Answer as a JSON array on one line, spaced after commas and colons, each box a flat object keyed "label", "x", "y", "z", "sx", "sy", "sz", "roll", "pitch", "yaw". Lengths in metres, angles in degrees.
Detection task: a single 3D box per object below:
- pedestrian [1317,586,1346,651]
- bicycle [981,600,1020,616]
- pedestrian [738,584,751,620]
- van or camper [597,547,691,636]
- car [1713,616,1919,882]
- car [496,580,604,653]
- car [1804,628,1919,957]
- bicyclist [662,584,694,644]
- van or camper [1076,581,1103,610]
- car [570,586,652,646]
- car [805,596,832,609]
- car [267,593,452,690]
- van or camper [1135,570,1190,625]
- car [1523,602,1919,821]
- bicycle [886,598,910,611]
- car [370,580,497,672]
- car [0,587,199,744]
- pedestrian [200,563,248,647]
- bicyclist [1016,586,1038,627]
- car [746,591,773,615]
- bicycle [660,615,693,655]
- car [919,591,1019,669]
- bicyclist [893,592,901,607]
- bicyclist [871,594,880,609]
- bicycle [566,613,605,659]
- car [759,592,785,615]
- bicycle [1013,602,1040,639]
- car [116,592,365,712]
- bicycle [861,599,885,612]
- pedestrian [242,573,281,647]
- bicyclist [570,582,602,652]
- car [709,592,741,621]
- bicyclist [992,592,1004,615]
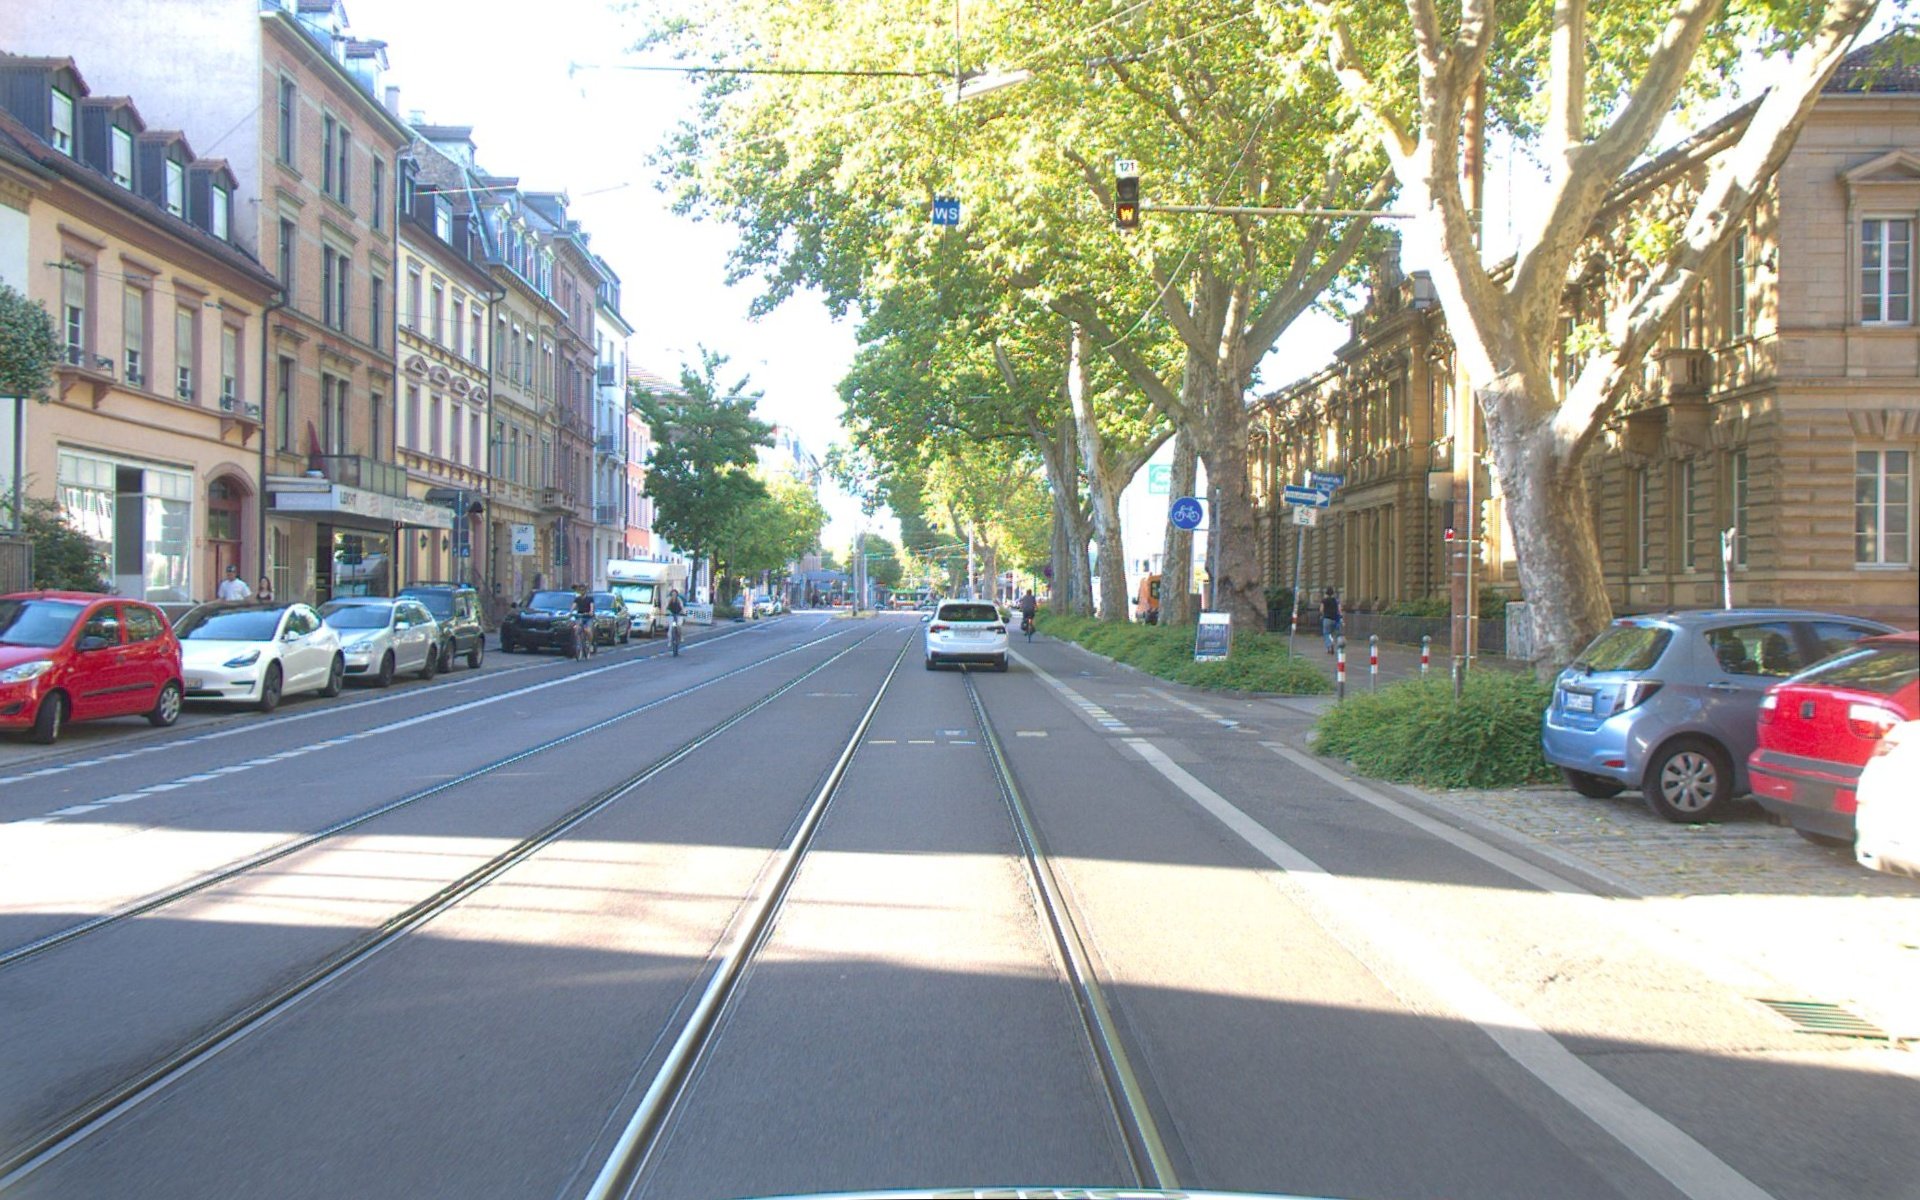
[{"label": "pedestrian", "x": 9.641, "y": 0.471, "z": 42.895, "sx": 0.634, "sy": 1.661, "sz": 0.872, "roll": 1, "pitch": 0, "yaw": 17}, {"label": "bicycle", "x": 2.871, "y": 0.569, "z": 117.278, "sx": 2.711, "sy": 1.017, "sz": 0.593, "roll": 2, "pitch": 0, "yaw": 13}, {"label": "pedestrian", "x": -12.458, "y": 0.128, "z": 95.804, "sx": 0.588, "sy": 2.037, "sz": 0.750, "roll": 1, "pitch": 0, "yaw": 3}, {"label": "van or camper", "x": -12.024, "y": -0.306, "z": 63.453, "sx": 2.171, "sy": 3.195, "sz": 7.113, "roll": 1, "pitch": 0, "yaw": 0}, {"label": "car", "x": 6.838, "y": 0.806, "z": 10.177, "sx": 3.680, "sy": 1.411, "sz": 1.678, "roll": -1, "pitch": 0, "yaw": -8}, {"label": "car", "x": -11.224, "y": 0.421, "z": 45.579, "sx": 1.925, "sy": 1.812, "sz": 4.934, "roll": 3, "pitch": 0, "yaw": -4}, {"label": "car", "x": 6.394, "y": 0.837, "z": 7.530, "sx": 4.198, "sy": 1.442, "sz": 1.760, "roll": -1, "pitch": 0, "yaw": -1}, {"label": "bicyclist", "x": -7.229, "y": 0.353, "z": 42.382, "sx": 0.625, "sy": 1.529, "sz": 1.069, "roll": -1, "pitch": 0, "yaw": -1}, {"label": "van or camper", "x": 11.286, "y": -0.388, "z": 144.532, "sx": 1.953, "sy": 2.384, "sz": 3.999, "roll": 2, "pitch": 0, "yaw": -1}, {"label": "car", "x": -11.282, "y": 0.489, "z": 53.714, "sx": 1.925, "sy": 1.812, "sz": 4.468, "roll": 1, "pitch": 0, "yaw": -3}, {"label": "car", "x": -21.176, "y": 0.381, "z": 247.374, "sx": 3.713, "sy": 1.850, "sz": 1.804, "roll": 2, "pitch": 0, "yaw": 4}, {"label": "car", "x": -10.447, "y": 0.660, "z": 29.126, "sx": 1.790, "sy": 1.529, "sz": 4.447, "roll": 2, "pitch": 0, "yaw": -3}, {"label": "van or camper", "x": 9.600, "y": -0.114, "z": 78.805, "sx": 1.985, "sy": 2.507, "sz": 5.108, "roll": 2, "pitch": 0, "yaw": 0}, {"label": "car", "x": 6.427, "y": 0.806, "z": 12.630, "sx": 3.675, "sy": 1.534, "sz": 1.681, "roll": 0, "pitch": 0, "yaw": -2}, {"label": "bicycle", "x": -6.536, "y": 0.438, "z": 173.657, "sx": 2.659, "sy": 1.351, "sz": 0.607, "roll": 0, "pitch": 0, "yaw": -37}, {"label": "car", "x": -10.740, "y": 0.499, "z": 33.977, "sx": 1.524, "sy": 1.762, "sz": 3.684, "roll": 2, "pitch": 0, "yaw": -3}, {"label": "car", "x": -10.120, "y": 0.653, "z": 18.473, "sx": 1.536, "sy": 1.590, "sz": 3.449, "roll": 0, "pitch": 0, "yaw": 2}, {"label": "pedestrian", "x": -14.865, "y": 0.092, "z": 33.405, "sx": 0.760, "sy": 1.662, "sz": 0.654, "roll": 2, "pitch": 0, "yaw": -18}, {"label": "bicyclist", "x": 2.280, "y": 0.218, "z": 56.126, "sx": 0.665, "sy": 1.362, "sz": 0.525, "roll": 2, "pitch": 0, "yaw": -2}, {"label": "car", "x": -15.274, "y": 0.234, "z": 125.965, "sx": 1.758, "sy": 1.756, "sz": 3.782, "roll": 1, "pitch": 0, "yaw": -3}, {"label": "bicycle", "x": -7.247, "y": 0.890, "z": 42.368, "sx": 0.488, "sy": 0.959, "sz": 1.921, "roll": -1, "pitch": 0, "yaw": 0}, {"label": "car", "x": 0.129, "y": 0.592, "z": 34.723, "sx": 1.806, "sy": 1.506, "sz": 3.835, "roll": 1, "pitch": 0, "yaw": -4}, {"label": "bicyclist", "x": -6.661, "y": -0.036, "z": 173.587, "sx": 0.626, "sy": 1.549, "sz": 0.602, "roll": -1, "pitch": 1, "yaw": -36}, {"label": "bicyclist", "x": -8.791, "y": 0.163, "z": 172.158, "sx": 0.626, "sy": 1.549, "sz": 0.602, "roll": -1, "pitch": 1, "yaw": -36}, {"label": "bicycle", "x": -9.115, "y": 0.865, "z": 40.341, "sx": 0.474, "sy": 1.066, "sz": 2.039, "roll": -1, "pitch": 0, "yaw": 0}, {"label": "car", "x": -15.094, "y": 0.246, "z": 132.848, "sx": 1.758, "sy": 1.756, "sz": 3.782, "roll": 1, "pitch": 0, "yaw": -3}, {"label": "bicycle", "x": 2.262, "y": 0.682, "z": 56.335, "sx": 0.666, "sy": 1.175, "sz": 2.963, "roll": 2, "pitch": 0, "yaw": -2}, {"label": "car", "x": -10.203, "y": 0.668, "z": 23.873, "sx": 1.791, "sy": 1.529, "sz": 4.684, "roll": 2, "pitch": 0, "yaw": -4}, {"label": "bicycle", "x": -9.016, "y": 0.553, "z": 171.951, "sx": 2.659, "sy": 1.351, "sz": 0.607, "roll": 0, "pitch": 0, "yaw": -37}, {"label": "pedestrian", "x": -14.204, "y": 0.200, "z": 33.625, "sx": 0.625, "sy": 1.486, "sz": 0.654, "roll": 2, "pitch": 0, "yaw": -18}, {"label": "bicyclist", "x": -9.116, "y": 0.412, "z": 40.343, "sx": 0.524, "sy": 1.663, "sz": 0.896, "roll": -2, "pitch": 0, "yaw": 0}, {"label": "car", "x": -14.813, "y": 0.373, "z": 104.316, "sx": 1.608, "sy": 1.756, "sz": 3.782, "roll": 1, "pitch": 0, "yaw": -3}, {"label": "bicyclist", "x": 2.694, "y": 0.245, "z": 117.337, "sx": 0.721, "sy": 1.617, "sz": 0.587, "roll": 0, "pitch": 0, "yaw": 10}]
